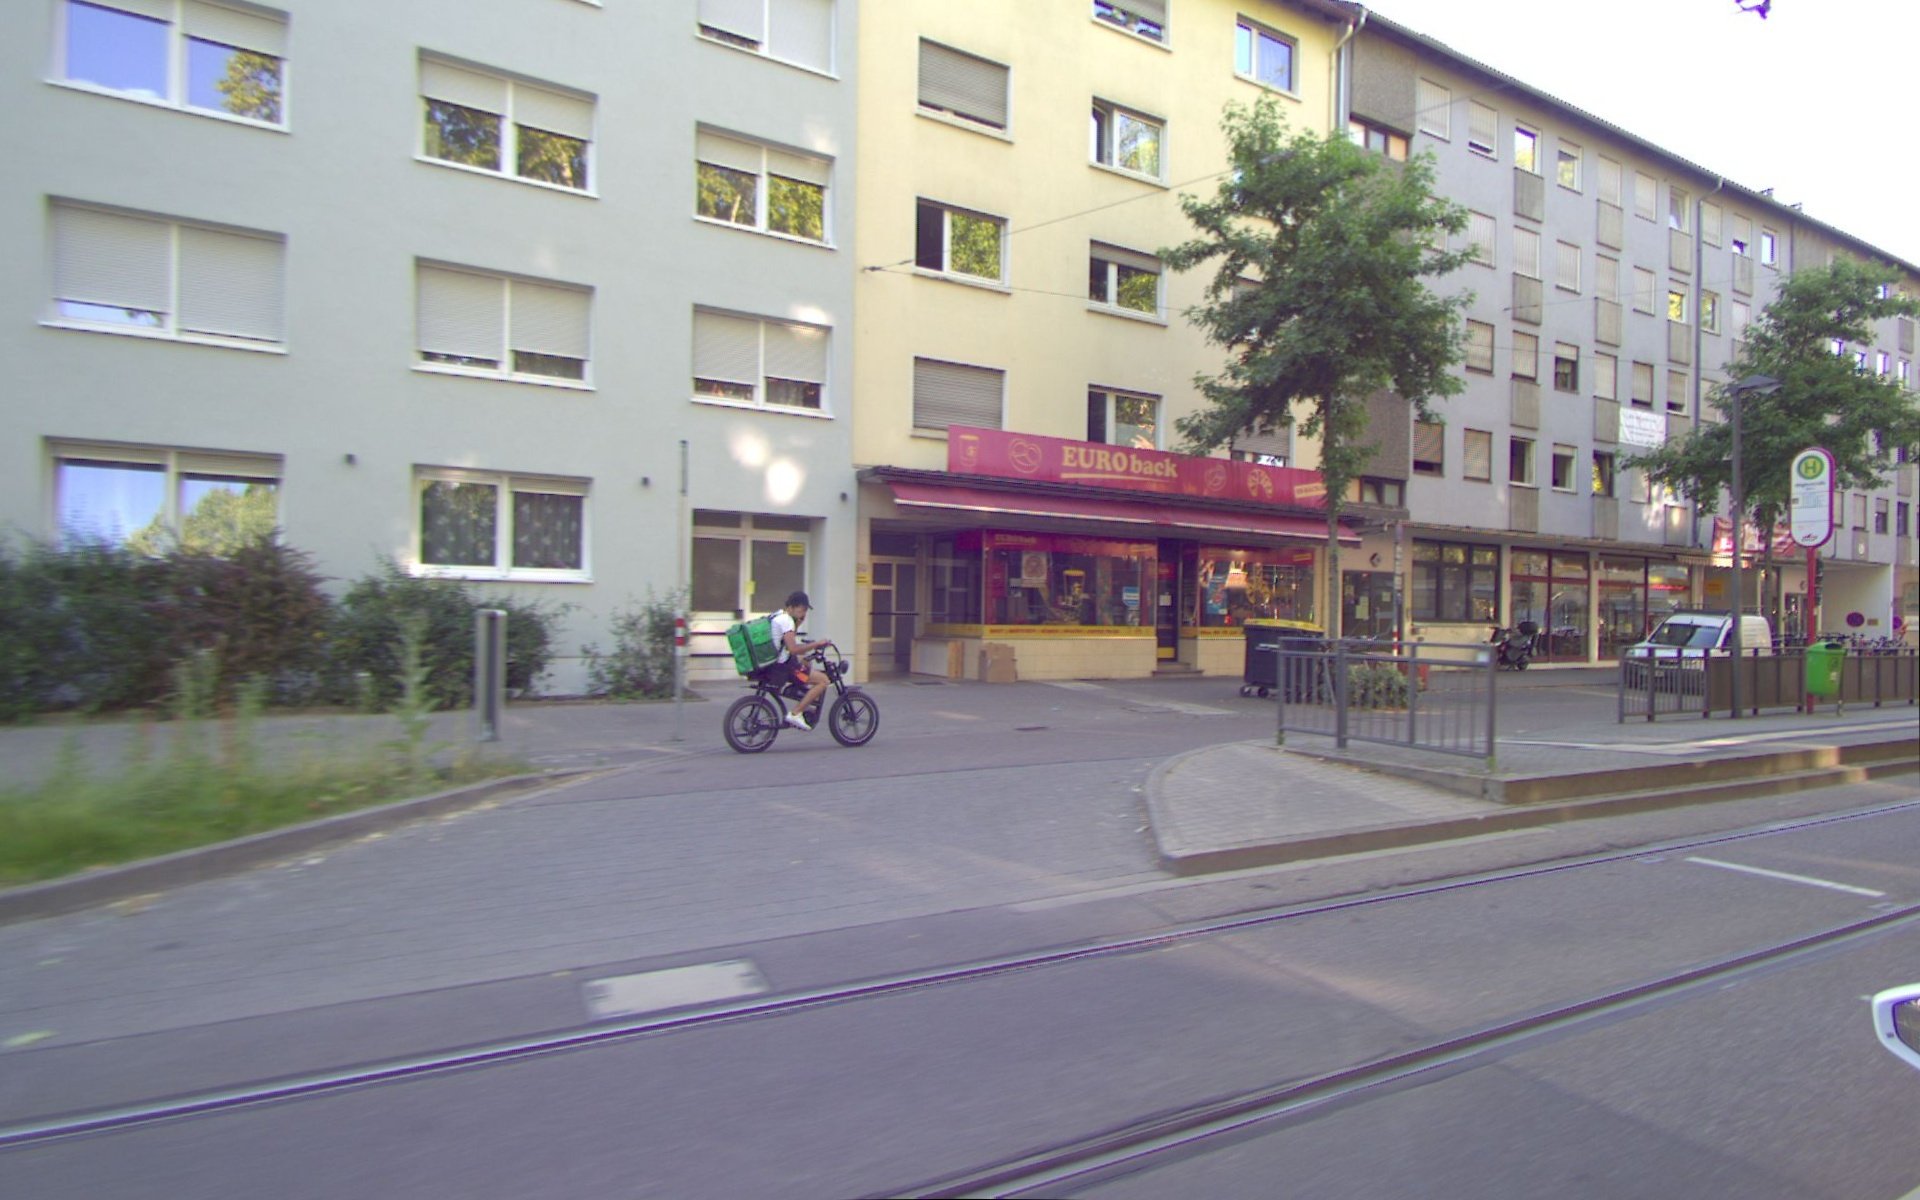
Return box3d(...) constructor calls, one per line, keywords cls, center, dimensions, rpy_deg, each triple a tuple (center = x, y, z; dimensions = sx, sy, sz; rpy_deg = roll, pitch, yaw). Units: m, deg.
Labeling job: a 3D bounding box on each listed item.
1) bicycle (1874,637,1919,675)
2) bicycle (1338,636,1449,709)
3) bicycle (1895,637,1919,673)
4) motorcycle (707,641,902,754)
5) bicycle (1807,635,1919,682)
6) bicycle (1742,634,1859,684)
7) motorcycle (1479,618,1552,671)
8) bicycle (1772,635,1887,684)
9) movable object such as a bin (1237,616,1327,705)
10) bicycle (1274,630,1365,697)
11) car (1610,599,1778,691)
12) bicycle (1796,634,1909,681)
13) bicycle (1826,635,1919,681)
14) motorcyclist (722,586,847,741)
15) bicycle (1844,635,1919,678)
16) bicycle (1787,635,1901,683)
box3d(cls="bicycle", center=(29.603, 1.761, 30.766), dimensions=(0.628, 1.088, 2.243), rpy_deg=(1, 3, -27))
box3d(cls="bicycle", center=(7.520, 1.231, 17.482), dimensions=(0.875, 1.089, 1.526), rpy_deg=(1, 2, -30))
box3d(cls="bicycle", center=(31.040, 1.805, 31.607), dimensions=(0.628, 1.088, 2.243), rpy_deg=(1, 3, -27))
box3d(cls="motorcycle", center=(-1.541, 0.944, 10.107), dimensions=(1.854, 1.046, 0.593), rpy_deg=(1, -3, -29))
box3d(cls="bicycle", center=(25.462, 1.620, 28.376), dimensions=(0.628, 1.088, 2.243), rpy_deg=(1, 3, -27))
box3d(cls="bicycle", center=(21.985, 1.523, 26.332), dimensions=(0.628, 1.088, 2.243), rpy_deg=(1, 3, -27))
box3d(cls="motorcycle", center=(14.316, 1.144, 25.882), dimensions=(2.196, 1.328, 0.596), rpy_deg=(1, -1, -30))
box3d(cls="bicycle", center=(23.416, 1.578, 27.107), dimensions=(0.628, 1.088, 2.243), rpy_deg=(1, 3, -27))
box3d(cls="movable object such as a bin", center=(5.443, 1.004, 17.027), dimensions=(0.775, 1.366, 1.163), rpy_deg=(1, 3, -33))
box3d(cls="bicycle", center=(6.464, 1.119, 18.043), dimensions=(1.780, 1.122, 0.495), rpy_deg=(2, 3, -33))
box3d(cls="car", center=(17.017, 1.014, 23.257), dimensions=(3.953, 1.966, 1.680), rpy_deg=(1, -1, -30))
box3d(cls="bicycle", center=(24.902, 1.586, 28.075), dimensions=(0.628, 1.088, 2.243), rpy_deg=(1, 3, -27))
box3d(cls="bicycle", center=(26.546, 1.653, 28.992), dimensions=(0.628, 1.088, 2.243), rpy_deg=(1, 3, -27))
box3d(cls="motorcyclist", center=(-1.745, 0.620, 10.015), dimensions=(1.090, 1.468, 0.593), rpy_deg=(1, -2, -29))
box3d(cls="bicycle", center=(27.968, 1.699, 29.989), dimensions=(0.628, 1.088, 2.243), rpy_deg=(1, 3, -27))
box3d(cls="bicycle", center=(24.399, 1.597, 27.788), dimensions=(0.628, 1.088, 2.243), rpy_deg=(1, 3, -27))
